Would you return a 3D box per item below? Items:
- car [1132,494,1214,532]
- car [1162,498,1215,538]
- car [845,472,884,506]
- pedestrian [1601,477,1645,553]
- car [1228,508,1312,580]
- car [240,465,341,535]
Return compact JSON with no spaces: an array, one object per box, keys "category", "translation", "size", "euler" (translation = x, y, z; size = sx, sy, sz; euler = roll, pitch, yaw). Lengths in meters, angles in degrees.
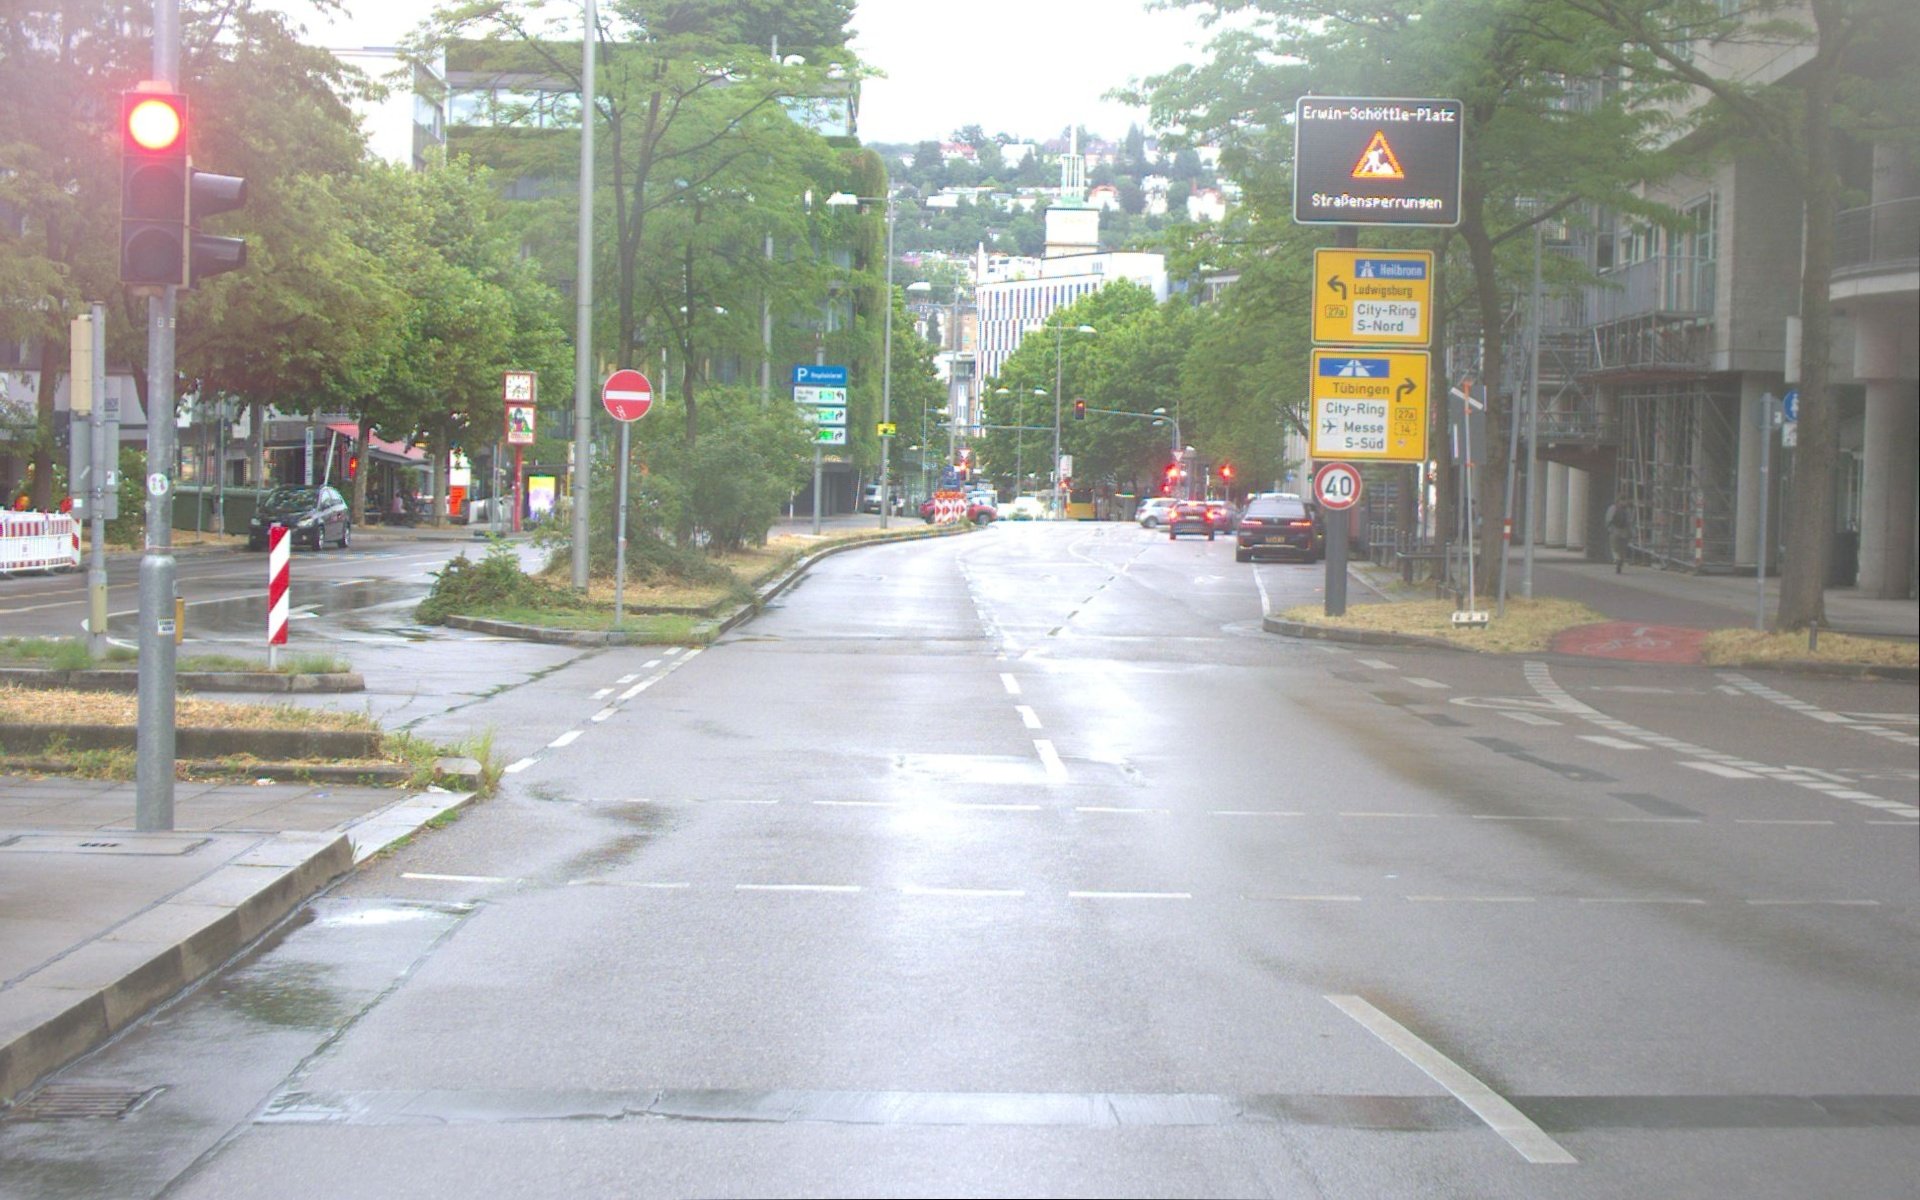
[{"category":"car","translation":[11.357,-4.628,183.354],"size":[4.055,1.898,1.955],"euler":[2,1,-7]},{"category":"car","translation":[8.990,-3.225,135.612],"size":[1.746,1.514,4.107],"euler":[2,1,-1]},{"category":"car","translation":[-6.268,-7.276,225.674],"size":[2.128,2.157,5.197],"euler":[2,1,2]},{"category":"pedestrian","translation":[13.785,-1.770,71.464],"size":[0.786,1.552,0.533],"euler":[2,1,4]},{"category":"car","translation":[7.651,-1.385,85.169],"size":[1.901,1.678,3.910],"euler":[2,1,4]},{"category":"car","translation":[-16.505,-2.493,84.912],"size":[1.780,1.550,3.894],"euler":[2,3,-1]}]
